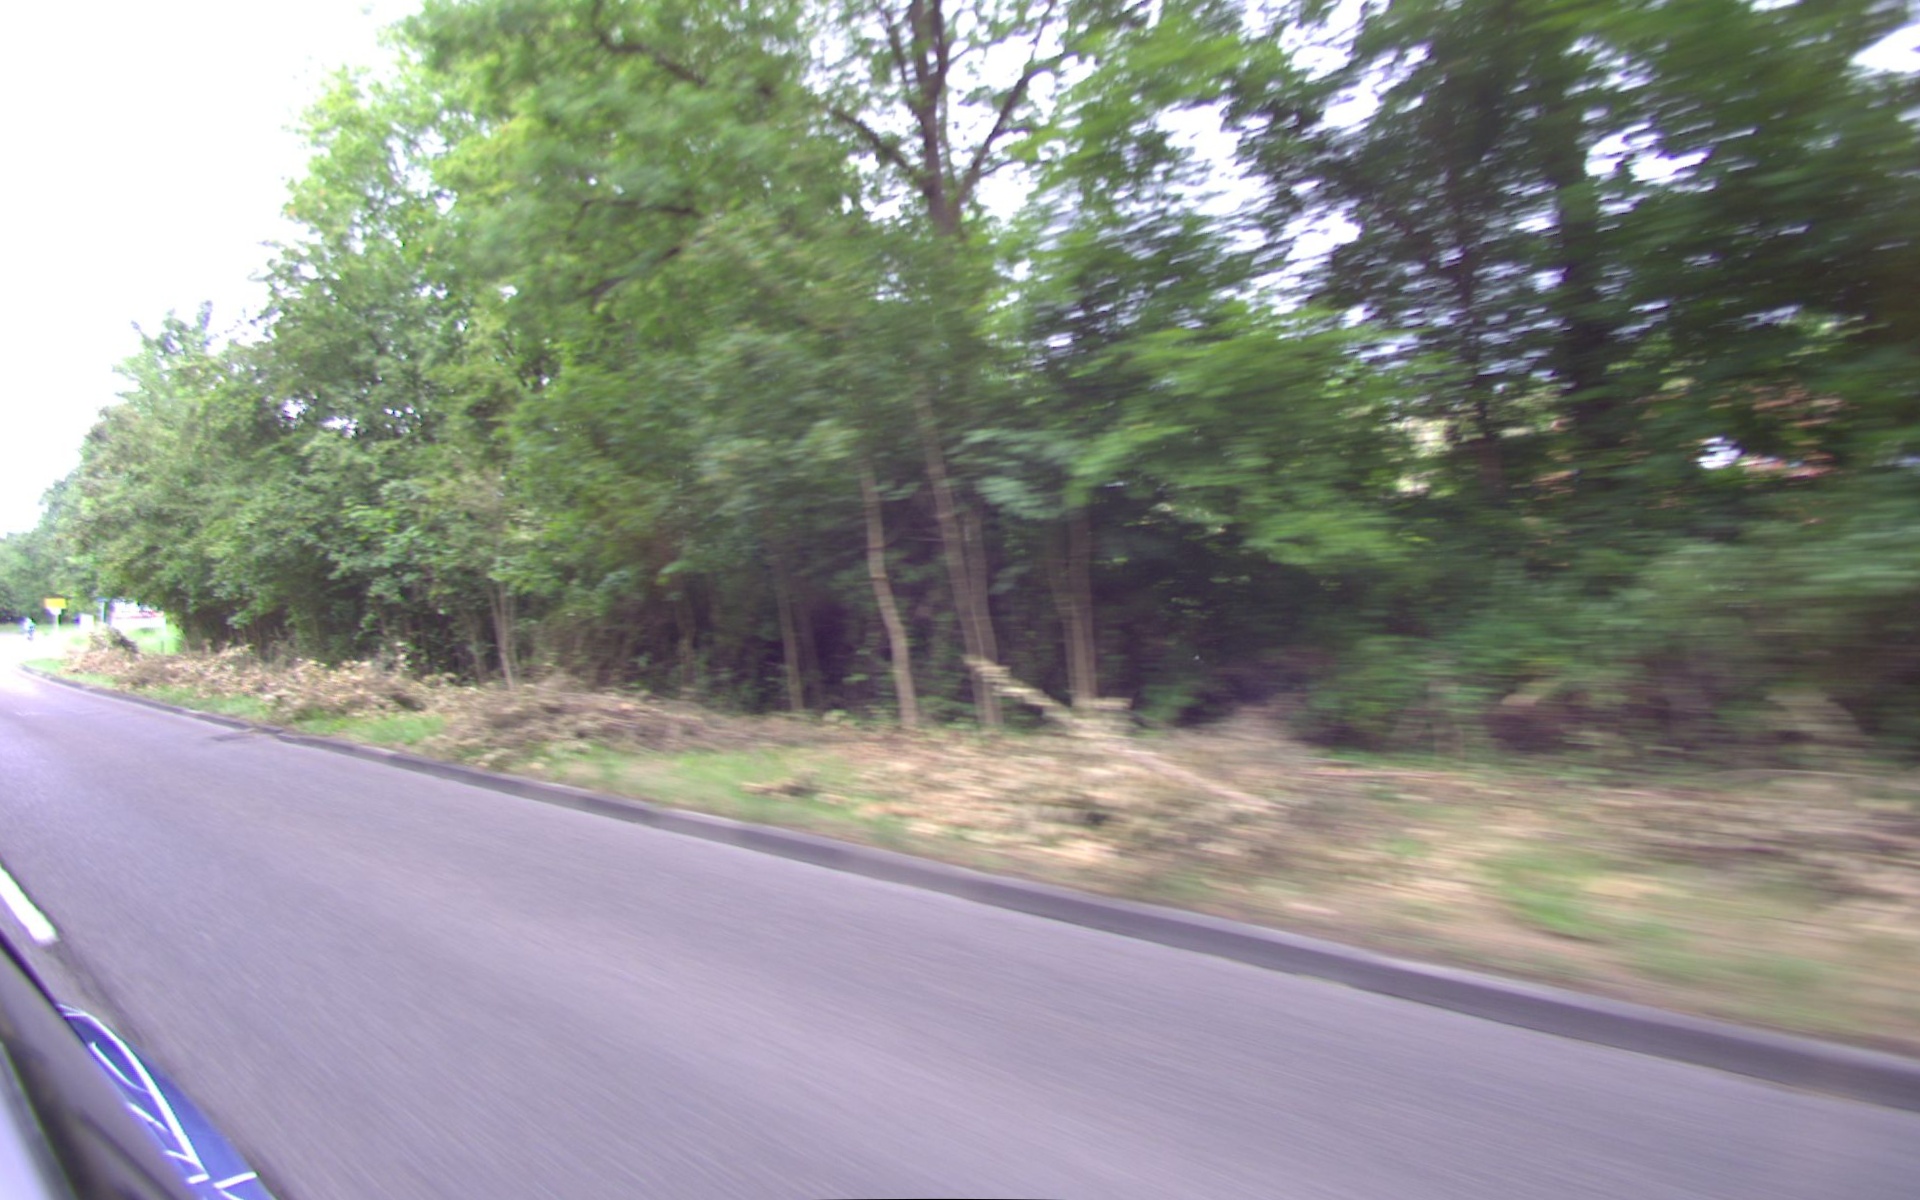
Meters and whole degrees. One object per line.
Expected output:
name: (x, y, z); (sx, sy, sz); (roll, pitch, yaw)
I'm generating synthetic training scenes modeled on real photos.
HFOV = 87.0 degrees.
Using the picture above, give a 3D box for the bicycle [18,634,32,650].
bicycle: (-63.344, 2.836, 68.560); (0.657, 1.082, 2.148); (-1, -1, -42)

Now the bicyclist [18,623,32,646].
bicyclist: (-63.356, 2.336, 68.565); (0.657, 1.531, 1.272); (-1, -1, -42)
